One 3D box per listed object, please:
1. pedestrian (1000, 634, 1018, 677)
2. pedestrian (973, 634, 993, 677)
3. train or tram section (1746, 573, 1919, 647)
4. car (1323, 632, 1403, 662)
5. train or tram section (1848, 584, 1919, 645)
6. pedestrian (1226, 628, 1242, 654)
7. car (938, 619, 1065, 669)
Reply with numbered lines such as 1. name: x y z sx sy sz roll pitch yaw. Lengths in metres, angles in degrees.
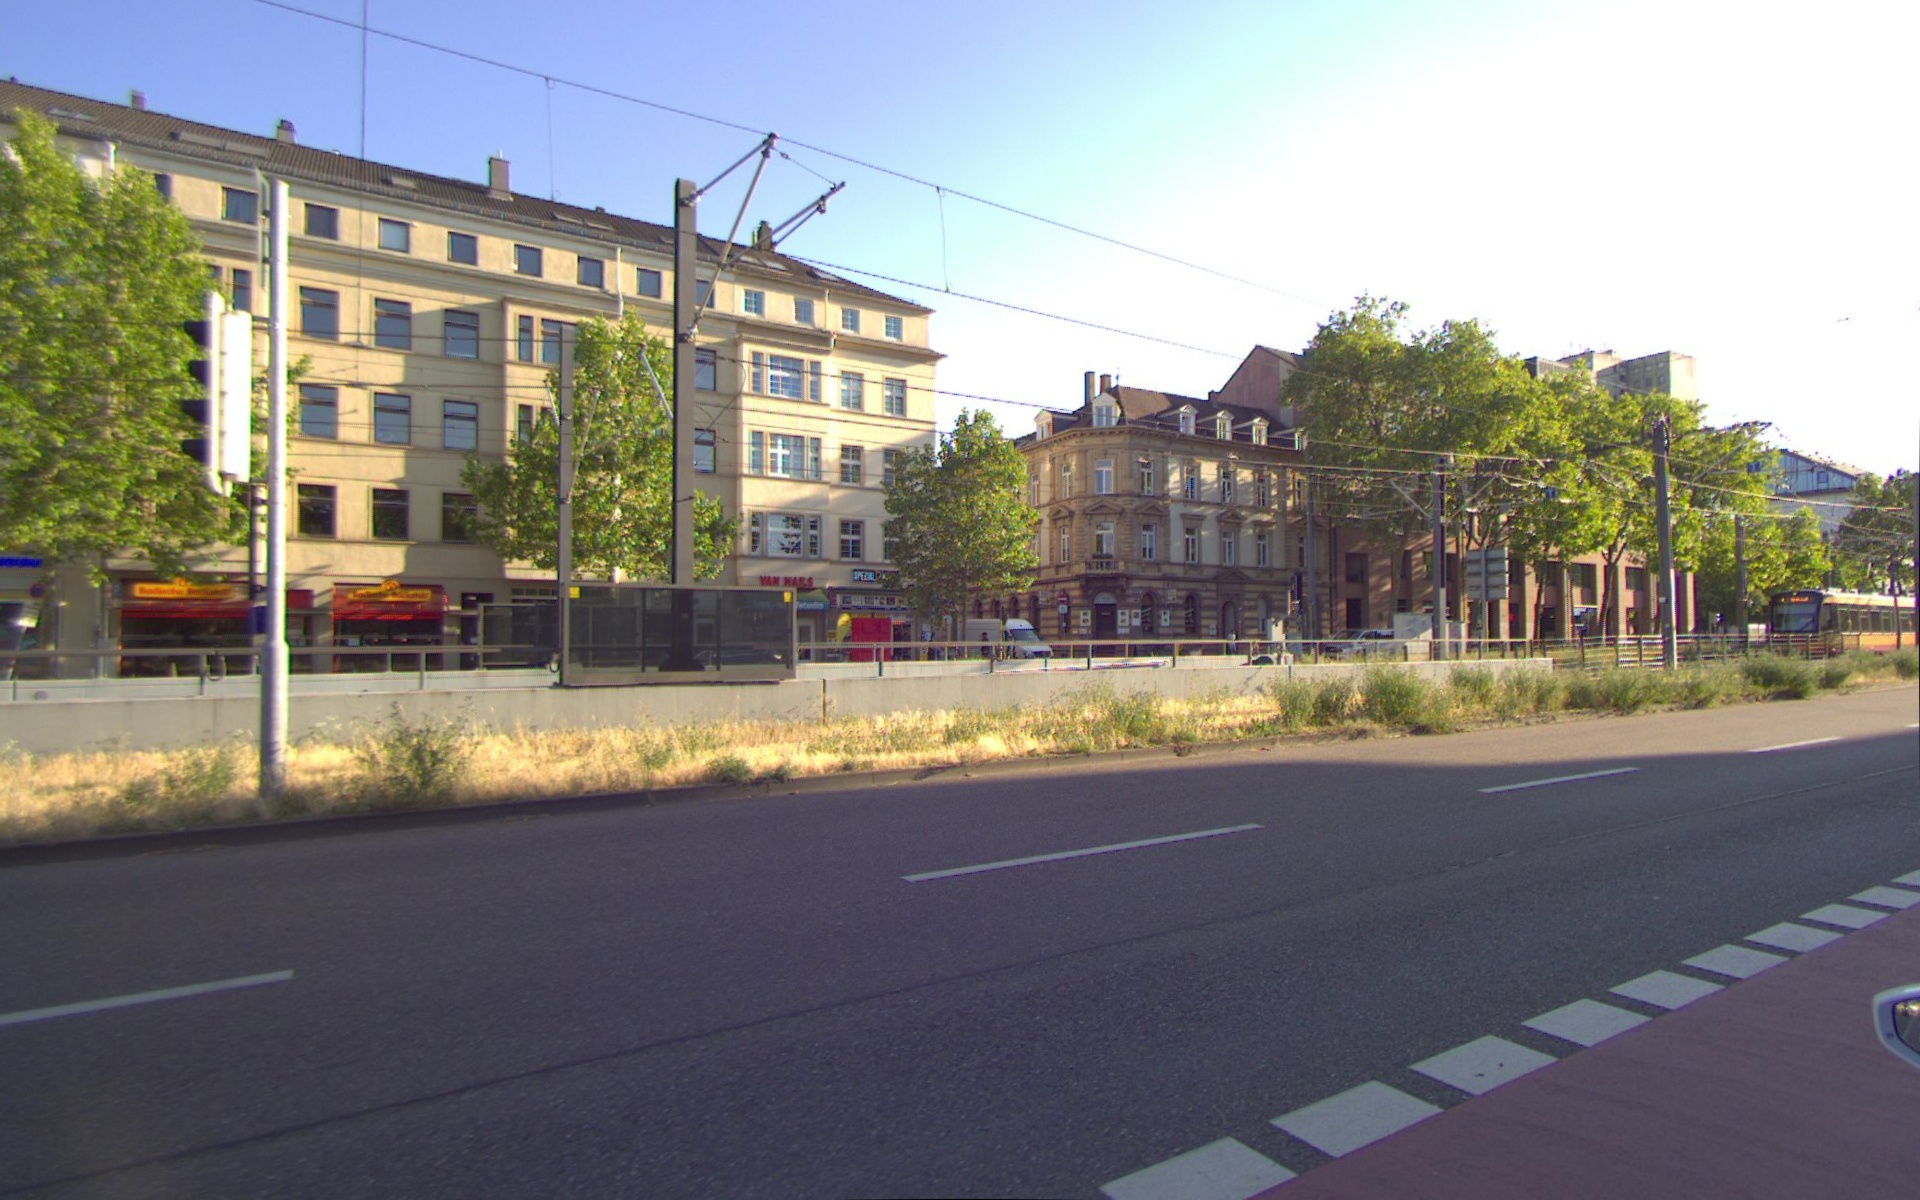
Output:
1. pedestrian: 2.274 2.565 46.545 0.579 1.944 0.627 2 0 -30
2. pedestrian: 1.047 2.528 45.985 0.628 1.944 0.578 2 -1 -44
3. train or tram section: 48.258 0.727 55.202 17.303 3.605 3.092 1 -3 -35
4. car: 22.615 2.633 56.262 4.682 1.605 1.751 1 -3 -32
5. train or tram section: 63.311 1.109 65.972 19.736 3.605 3.092 1 -3 -36
6. pedestrian: 16.697 2.518 61.255 0.684 1.583 0.699 1 -2 -35
7. car: 1.935 2.202 50.392 2.447 2.296 7.217 1 -3 -36
